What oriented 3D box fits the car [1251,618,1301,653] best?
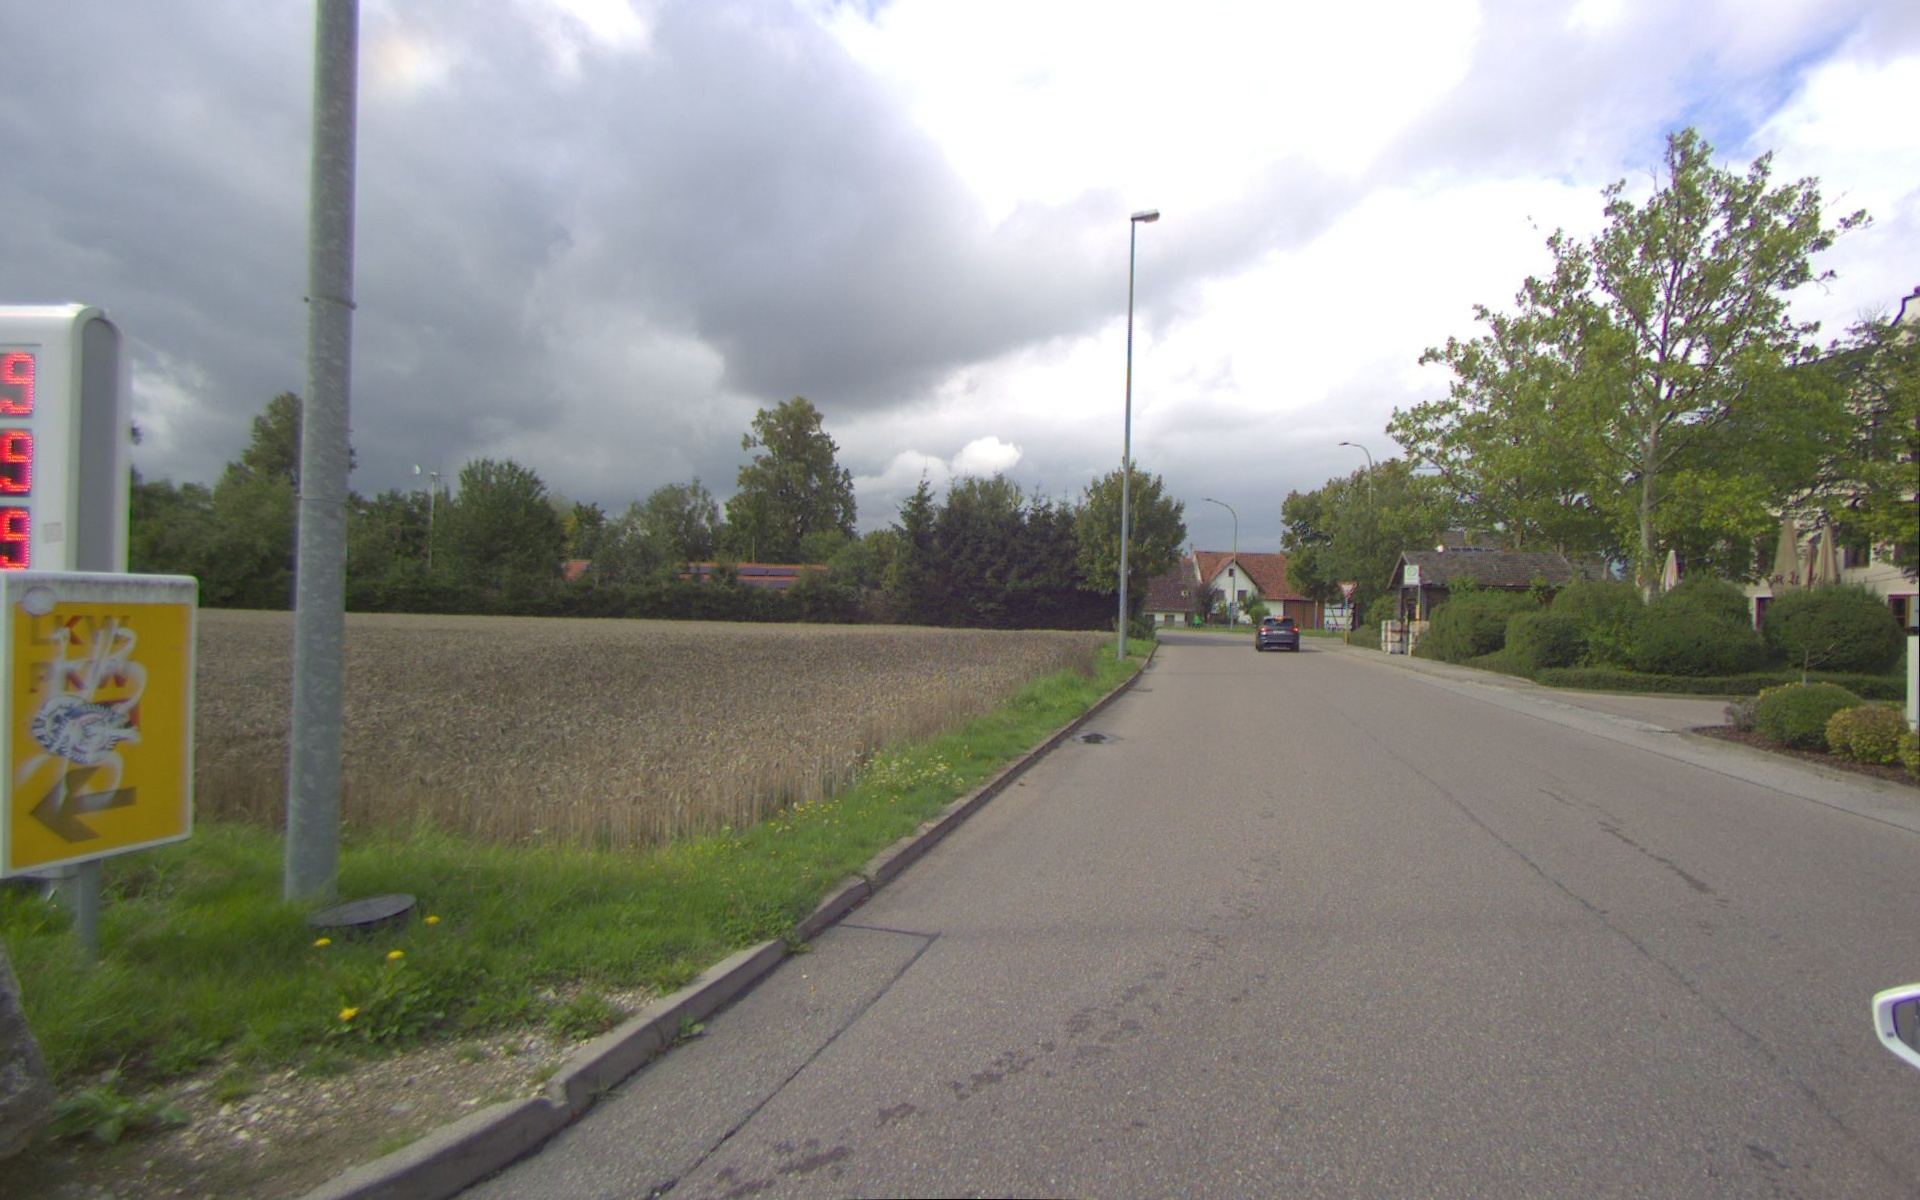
[{"bbox_3d":[14.325,1.567,45.659,1.768,1.481,3.664,1,-1,11],"label":"car"}]

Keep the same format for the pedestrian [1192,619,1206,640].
[{"bbox_3d":[20.550,2.561,86.477,0.779,1.686,0.709,6,-2,-20],"label":"pedestrian"}]
